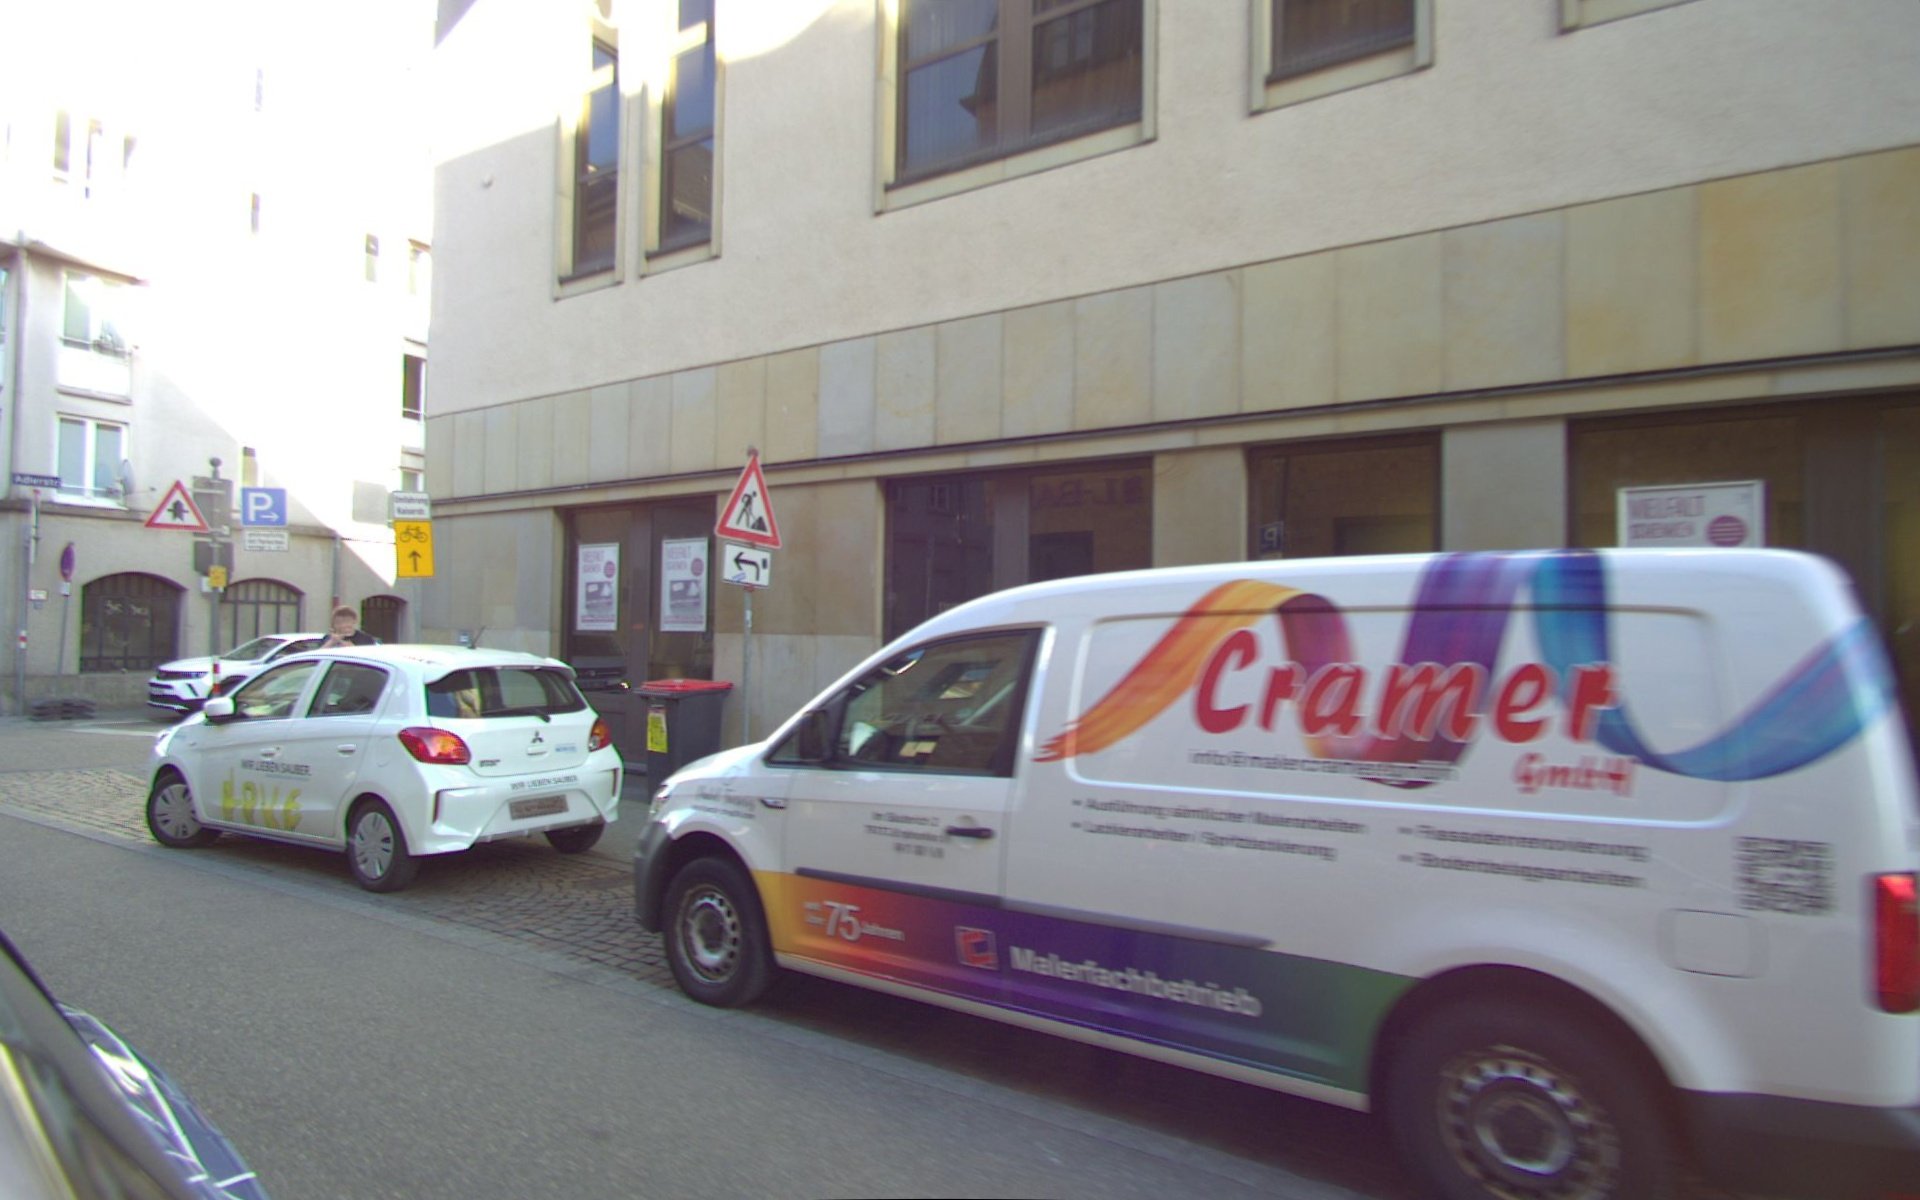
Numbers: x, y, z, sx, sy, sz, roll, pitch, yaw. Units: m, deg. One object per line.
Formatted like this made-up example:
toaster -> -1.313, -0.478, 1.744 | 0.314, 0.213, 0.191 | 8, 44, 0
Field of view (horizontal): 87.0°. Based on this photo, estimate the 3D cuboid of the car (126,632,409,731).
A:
car -> -12.686, 1.449, 18.783 | 1.738, 1.605, 3.925 | 0, -3, 32

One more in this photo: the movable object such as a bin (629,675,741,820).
movable object such as a bin -> -2.350, 1.229, 8.675 | 0.589, 1.109, 0.731 | 0, 0, 30

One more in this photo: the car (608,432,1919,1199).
car -> 0.975, 0.673, 3.881 | 4.721, 1.872, 1.883 | -1, -4, 34

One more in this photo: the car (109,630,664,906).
car -> -4.182, 1.018, 7.322 | 3.783, 1.504, 1.725 | -1, -4, 29

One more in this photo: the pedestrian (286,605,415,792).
pedestrian -> -6.430, 1.016, 10.729 | 0.707, 1.869, 0.861 | 2, -3, 3
